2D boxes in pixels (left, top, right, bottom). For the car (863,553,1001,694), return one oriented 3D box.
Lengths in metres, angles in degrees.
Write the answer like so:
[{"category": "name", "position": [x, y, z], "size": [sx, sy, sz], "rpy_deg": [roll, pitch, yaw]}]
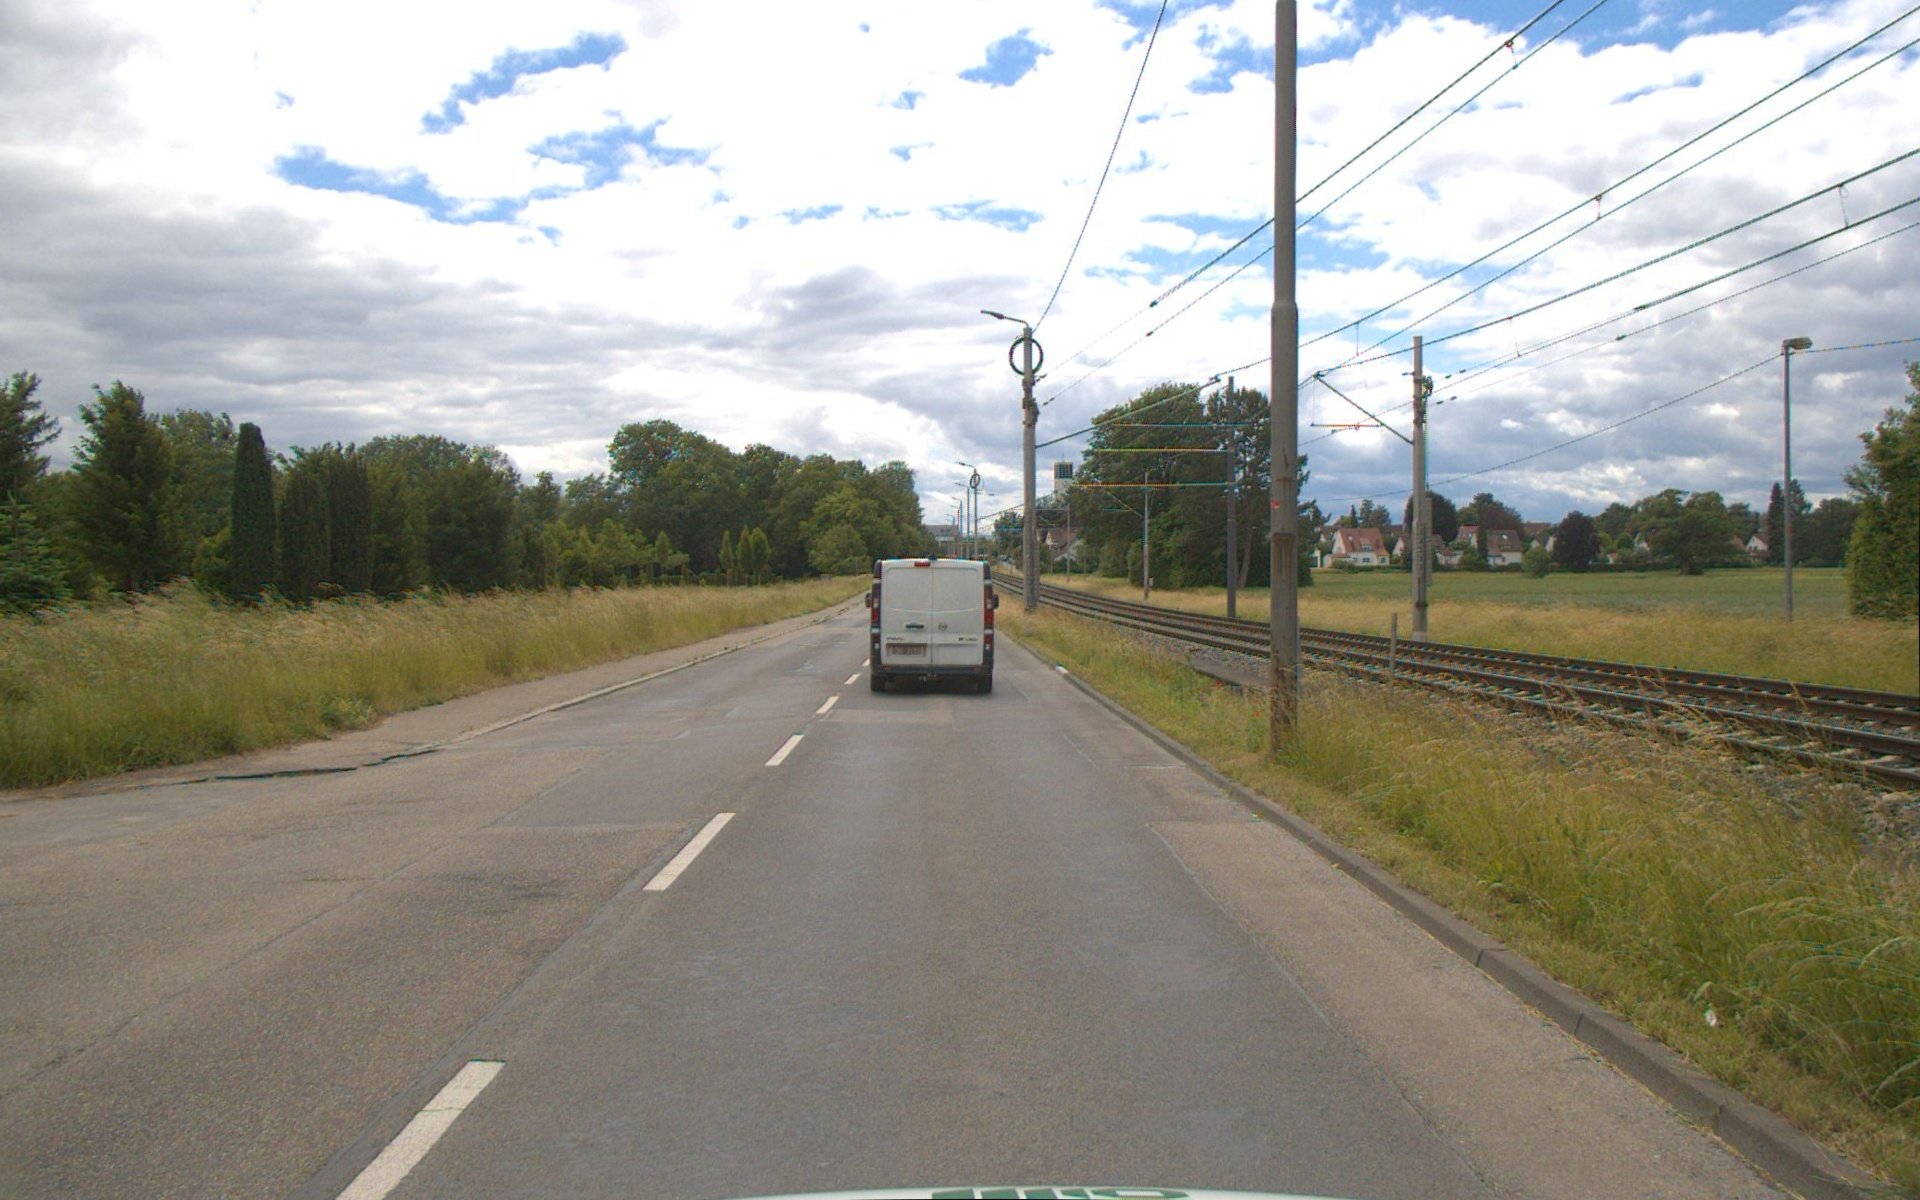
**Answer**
[{"category": "car", "position": [-0.467, 0.338, 25.491], "size": [1.953, 1.991, 3.998], "rpy_deg": [0, 0, -2]}]
